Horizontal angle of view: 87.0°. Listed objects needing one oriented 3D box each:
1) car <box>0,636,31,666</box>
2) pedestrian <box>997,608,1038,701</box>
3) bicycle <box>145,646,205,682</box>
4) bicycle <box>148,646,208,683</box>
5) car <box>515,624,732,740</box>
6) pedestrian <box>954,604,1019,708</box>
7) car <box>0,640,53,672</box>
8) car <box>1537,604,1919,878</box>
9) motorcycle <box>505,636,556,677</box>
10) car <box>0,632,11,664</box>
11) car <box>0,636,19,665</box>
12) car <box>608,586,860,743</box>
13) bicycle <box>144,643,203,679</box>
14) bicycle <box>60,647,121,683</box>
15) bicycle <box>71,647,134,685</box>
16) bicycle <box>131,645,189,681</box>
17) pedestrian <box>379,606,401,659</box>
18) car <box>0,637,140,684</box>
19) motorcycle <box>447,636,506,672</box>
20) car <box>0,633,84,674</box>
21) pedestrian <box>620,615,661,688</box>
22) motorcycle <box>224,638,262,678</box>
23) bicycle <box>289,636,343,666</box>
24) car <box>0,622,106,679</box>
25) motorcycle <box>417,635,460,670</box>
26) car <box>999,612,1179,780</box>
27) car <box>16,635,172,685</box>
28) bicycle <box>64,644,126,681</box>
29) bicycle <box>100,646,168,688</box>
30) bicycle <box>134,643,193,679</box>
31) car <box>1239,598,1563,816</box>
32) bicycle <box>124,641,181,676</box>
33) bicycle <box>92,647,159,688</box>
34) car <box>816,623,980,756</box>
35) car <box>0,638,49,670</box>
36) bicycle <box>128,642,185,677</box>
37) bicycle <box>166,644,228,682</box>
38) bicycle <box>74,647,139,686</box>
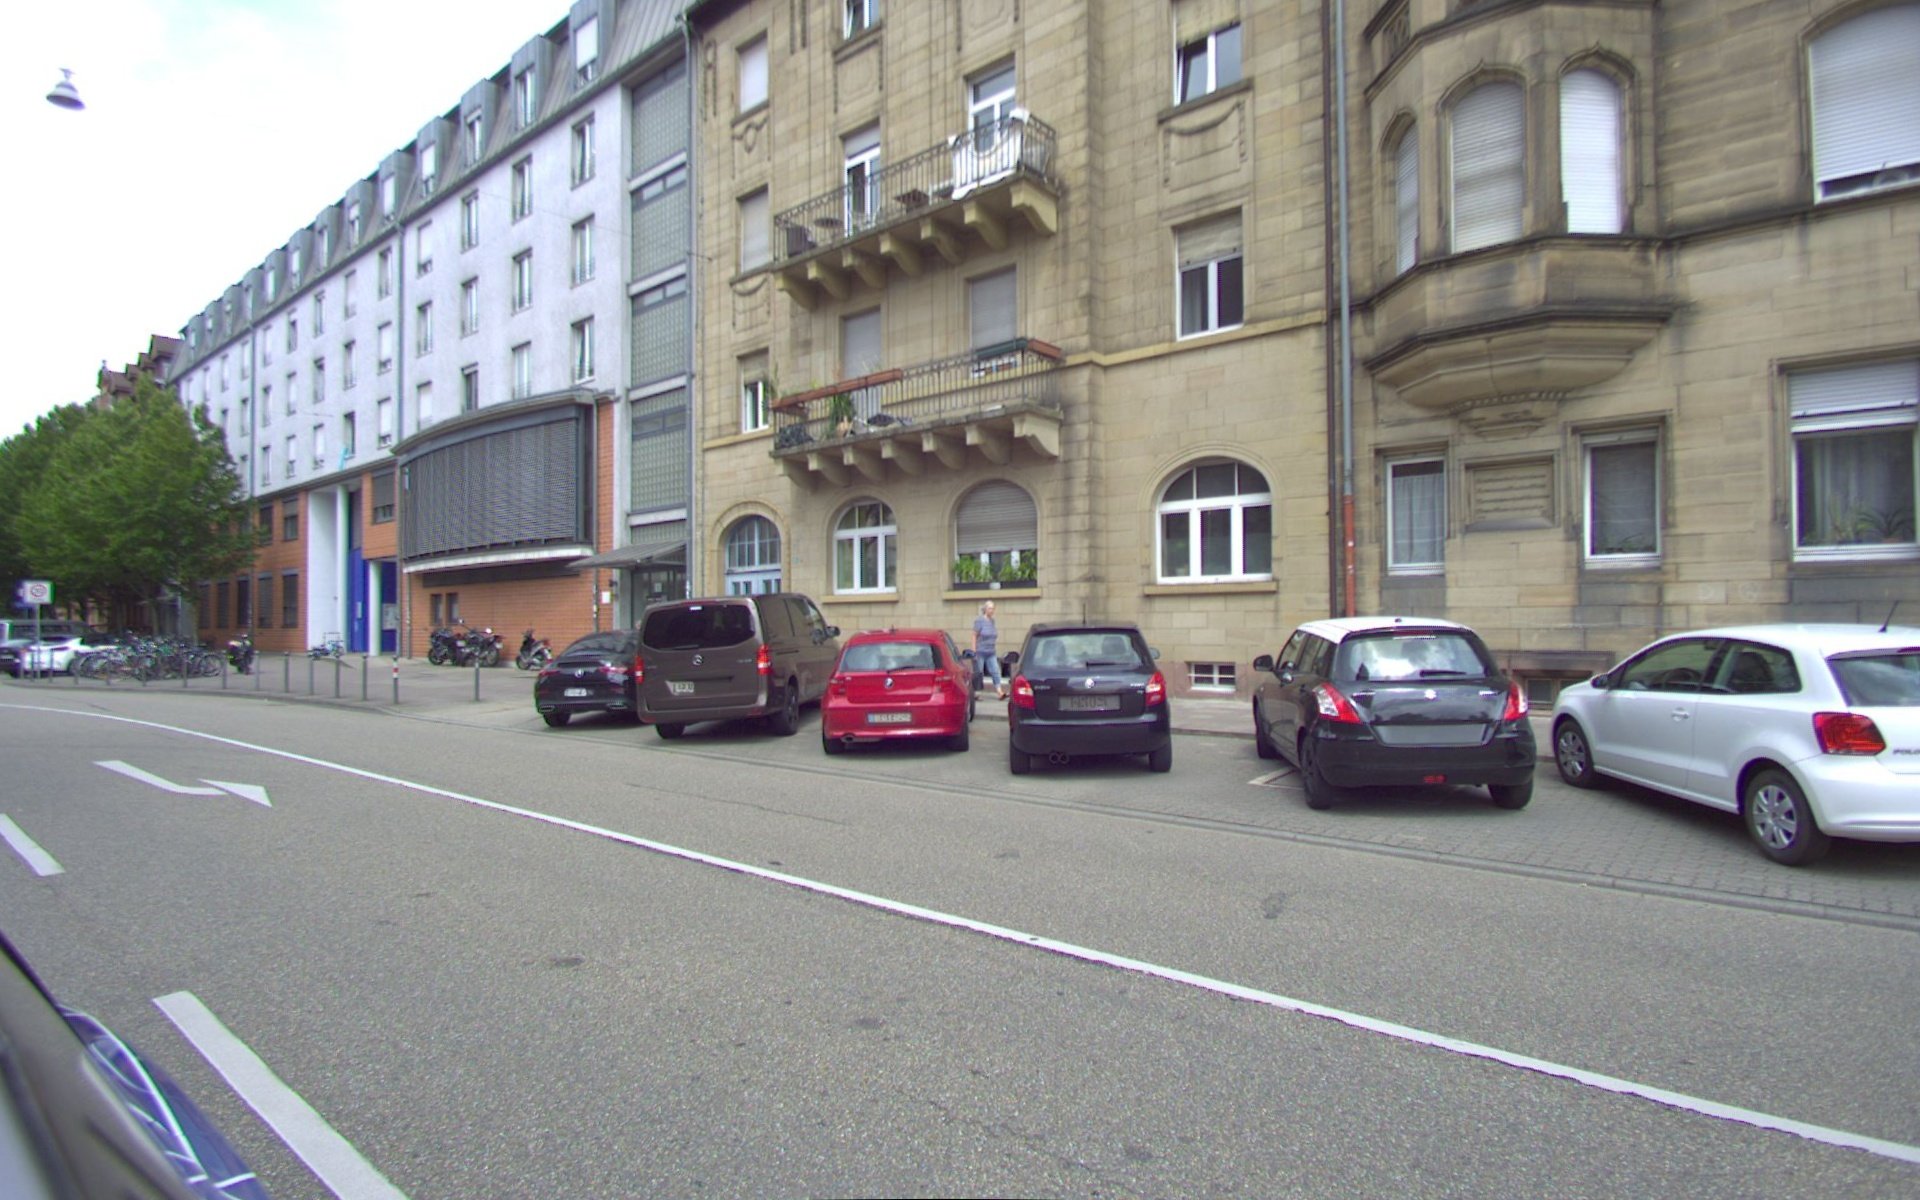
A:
[{"bbox_3d":[-51.856,2.704,53.433,1.671,1.580,3.996,-2,-2,7],"label":"car"},{"bbox_3d":[0.987,0.920,17.368,0.506,1.557,0.646,-1,-2,22],"label":"pedestrian"},{"bbox_3d":[-23.635,1.917,30.468,0.402,1.034,1.390,-2,-2,43],"label":"bicycle"},{"bbox_3d":[-23.247,1.905,30.098,0.402,1.034,1.390,-2,-2,43],"label":"bicycle"},{"bbox_3d":[-5.334,1.226,16.779,1.874,1.420,4.669,-2,1,2],"label":"car"},{"bbox_3d":[0.433,0.882,16.399,0.678,1.607,0.783,-2,0,41],"label":"pedestrian"},{"bbox_3d":[-44.129,2.566,46.194,1.577,1.400,3.996,-2,-2,7],"label":"car"},{"bbox_3d":[5.984,0.813,7.306,1.720,1.493,3.680,-1,-2,5],"label":"car"},{"bbox_3d":[-11.806,1.536,27.785,1.793,1.057,0.577,-2,-1,42],"label":"motorcycle"},{"bbox_3d":[-58.514,2.853,59.326,1.671,1.872,4.035,-2,-2,7],"label":"car"},{"bbox_3d":[-53.926,2.798,54.959,1.671,1.580,3.996,-2,-2,7],"label":"car"},{"bbox_3d":[-3.076,0.869,15.160,2.096,1.924,5.260,-1,-2,6],"label":"car"},{"bbox_3d":[-23.959,1.843,30.839,0.402,1.034,1.390,-2,-2,43],"label":"bicycle"},{"bbox_3d":[-27.252,2.024,31.720,0.402,1.034,1.391,-2,0,43],"label":"bicycle"},{"bbox_3d":[-25.700,1.958,30.336,0.402,1.034,1.391,-2,0,43],"label":"bicycle"},{"bbox_3d":[-24.993,1.954,31.630,0.402,1.034,1.390,-2,-2,43],"label":"bicycle"},{"bbox_3d":[-22.295,1.276,39.560,0.718,2.029,0.785,1,-2,-29],"label":"pedestrian"},{"bbox_3d":[-31.352,2.074,35.321,1.697,1.480,4.307,-1,-2,7],"label":"car"},{"bbox_3d":[-14.528,1.622,30.407,1.959,1.057,0.579,-2,-1,30],"label":"motorcycle"},{"bbox_3d":[-39.821,2.249,42.886,1.692,1.627,3.996,-2,-2,7],"label":"car"},{"bbox_3d":[-6.714,1.073,21.254,0.507,1.497,0.656,-1,-2,27],"label":"pedestrian"},{"bbox_3d":[-21.716,1.741,30.622,1.779,1.181,0.577,-2,-1,43],"label":"motorcycle"},{"bbox_3d":[-24.723,1.953,38.857,1.590,0.933,0.933,-6,2,-37],"label":"bicycle"},{"bbox_3d":[-35.758,1.892,39.099,1.841,2.013,3.993,-1,0,10],"label":"car"},{"bbox_3d":[-16.400,1.650,31.824,1.655,1.057,0.577,-2,-1,40],"label":"motorcycle"},{"bbox_3d":[1.368,0.932,11.223,1.611,1.514,3.989,-1,-2,6],"label":"car"},{"bbox_3d":[-29.115,1.970,34.181,1.583,1.557,3.997,-1,-2,7],"label":"car"},{"bbox_3d":[-26.651,1.925,31.184,0.402,1.034,1.391,-2,0,43],"label":"bicycle"},{"bbox_3d":[-22.940,1.856,28.127,0.402,1.046,1.391,-2,0,43],"label":"bicycle"},{"bbox_3d":[-24.629,1.872,31.313,0.402,1.034,1.390,-2,-2,43],"label":"bicycle"},{"bbox_3d":[3.779,0.842,9.466,1.776,1.576,4.001,-1,-2,9],"label":"car"},{"bbox_3d":[-25.925,1.870,32.520,0.402,1.034,1.390,-2,-2,43],"label":"bicycle"},{"bbox_3d":[-23.635,1.911,28.685,0.402,1.046,1.391,-2,0,43],"label":"bicycle"},{"bbox_3d":[-0.678,1.020,12.938,1.771,1.420,4.012,-1,-2,0],"label":"car"},{"bbox_3d":[-45.831,2.580,47.832,1.671,1.465,3.996,-2,-2,7],"label":"car"},{"bbox_3d":[-25.494,1.873,32.115,0.402,1.034,1.390,-2,-2,43],"label":"bicycle"},{"bbox_3d":[-22.181,1.831,29.434,0.402,1.034,1.390,-2,-2,43],"label":"bicycle"},{"bbox_3d":[-25.215,1.957,29.916,0.402,1.046,1.391,-2,0,43],"label":"bicycle"}]
